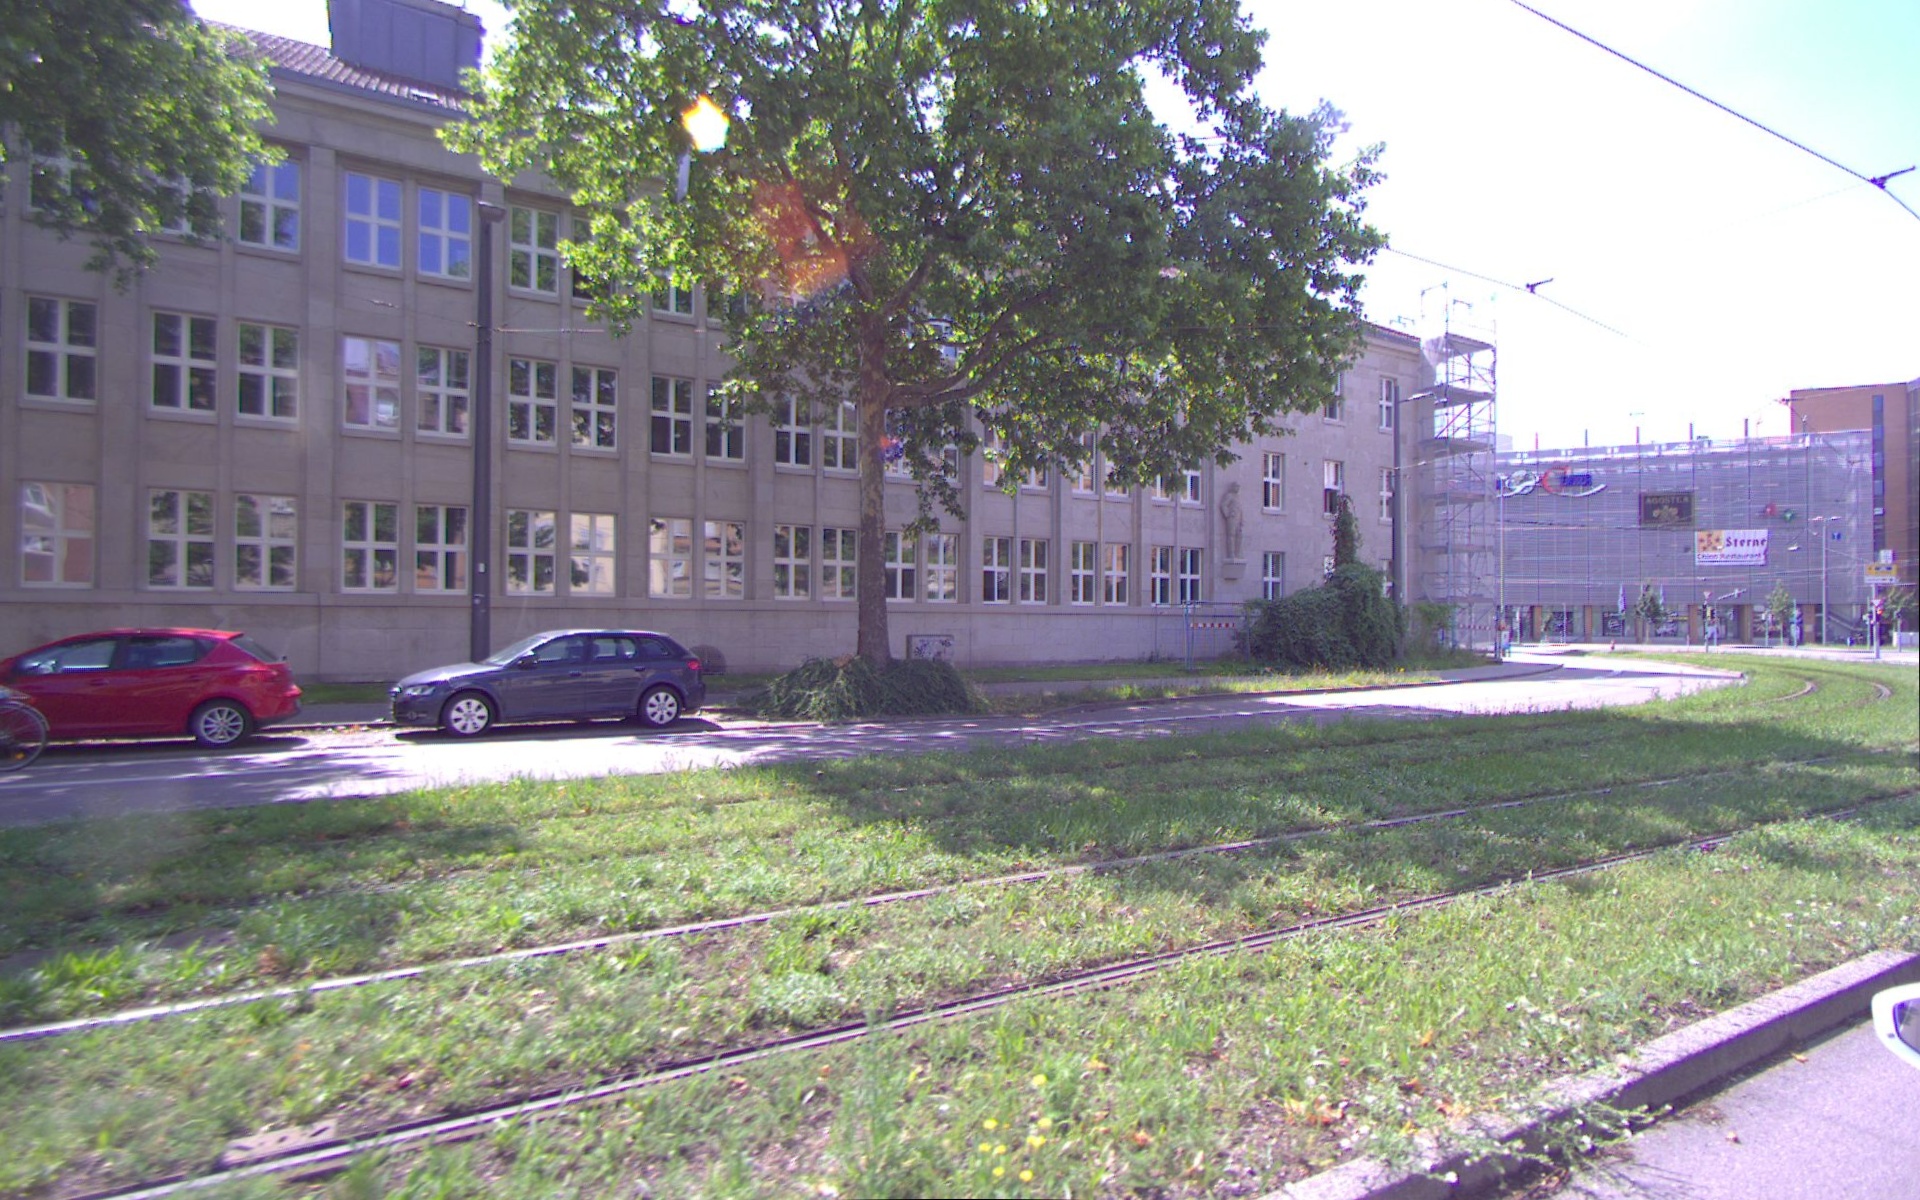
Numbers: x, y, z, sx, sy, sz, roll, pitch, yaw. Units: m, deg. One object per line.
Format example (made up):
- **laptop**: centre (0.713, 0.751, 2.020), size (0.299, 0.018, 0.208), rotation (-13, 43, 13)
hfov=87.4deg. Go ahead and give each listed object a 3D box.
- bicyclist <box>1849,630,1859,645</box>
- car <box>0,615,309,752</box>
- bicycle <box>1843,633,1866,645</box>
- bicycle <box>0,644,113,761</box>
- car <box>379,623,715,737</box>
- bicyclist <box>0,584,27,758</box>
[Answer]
- **bicyclist**: centre (97.055, 4.053, 109.059), size (0.652, 1.645, 0.550), rotation (1, -1, 23)
- **car**: centre (-10.301, 0.935, 12.098), size (4.003, 1.439, 1.916), rotation (1, 0, -31)
- **bicycle**: centre (97.107, 4.275, 109.041), size (1.732, 1.240, 0.584), rotation (1, -1, 23)
- **bicycle**: centre (-9.996, 1.020, 10.065), size (2.257, 1.124, 0.784), rotation (2, -1, -39)
- **car**: centre (-5.960, 1.056, 14.645), size (4.271, 1.387, 1.915), rotation (1, 0, -33)
- **bicyclist**: centre (-9.960, 0.693, 10.086), size (0.777, 1.727, 0.755), rotation (2, -1, -40)
